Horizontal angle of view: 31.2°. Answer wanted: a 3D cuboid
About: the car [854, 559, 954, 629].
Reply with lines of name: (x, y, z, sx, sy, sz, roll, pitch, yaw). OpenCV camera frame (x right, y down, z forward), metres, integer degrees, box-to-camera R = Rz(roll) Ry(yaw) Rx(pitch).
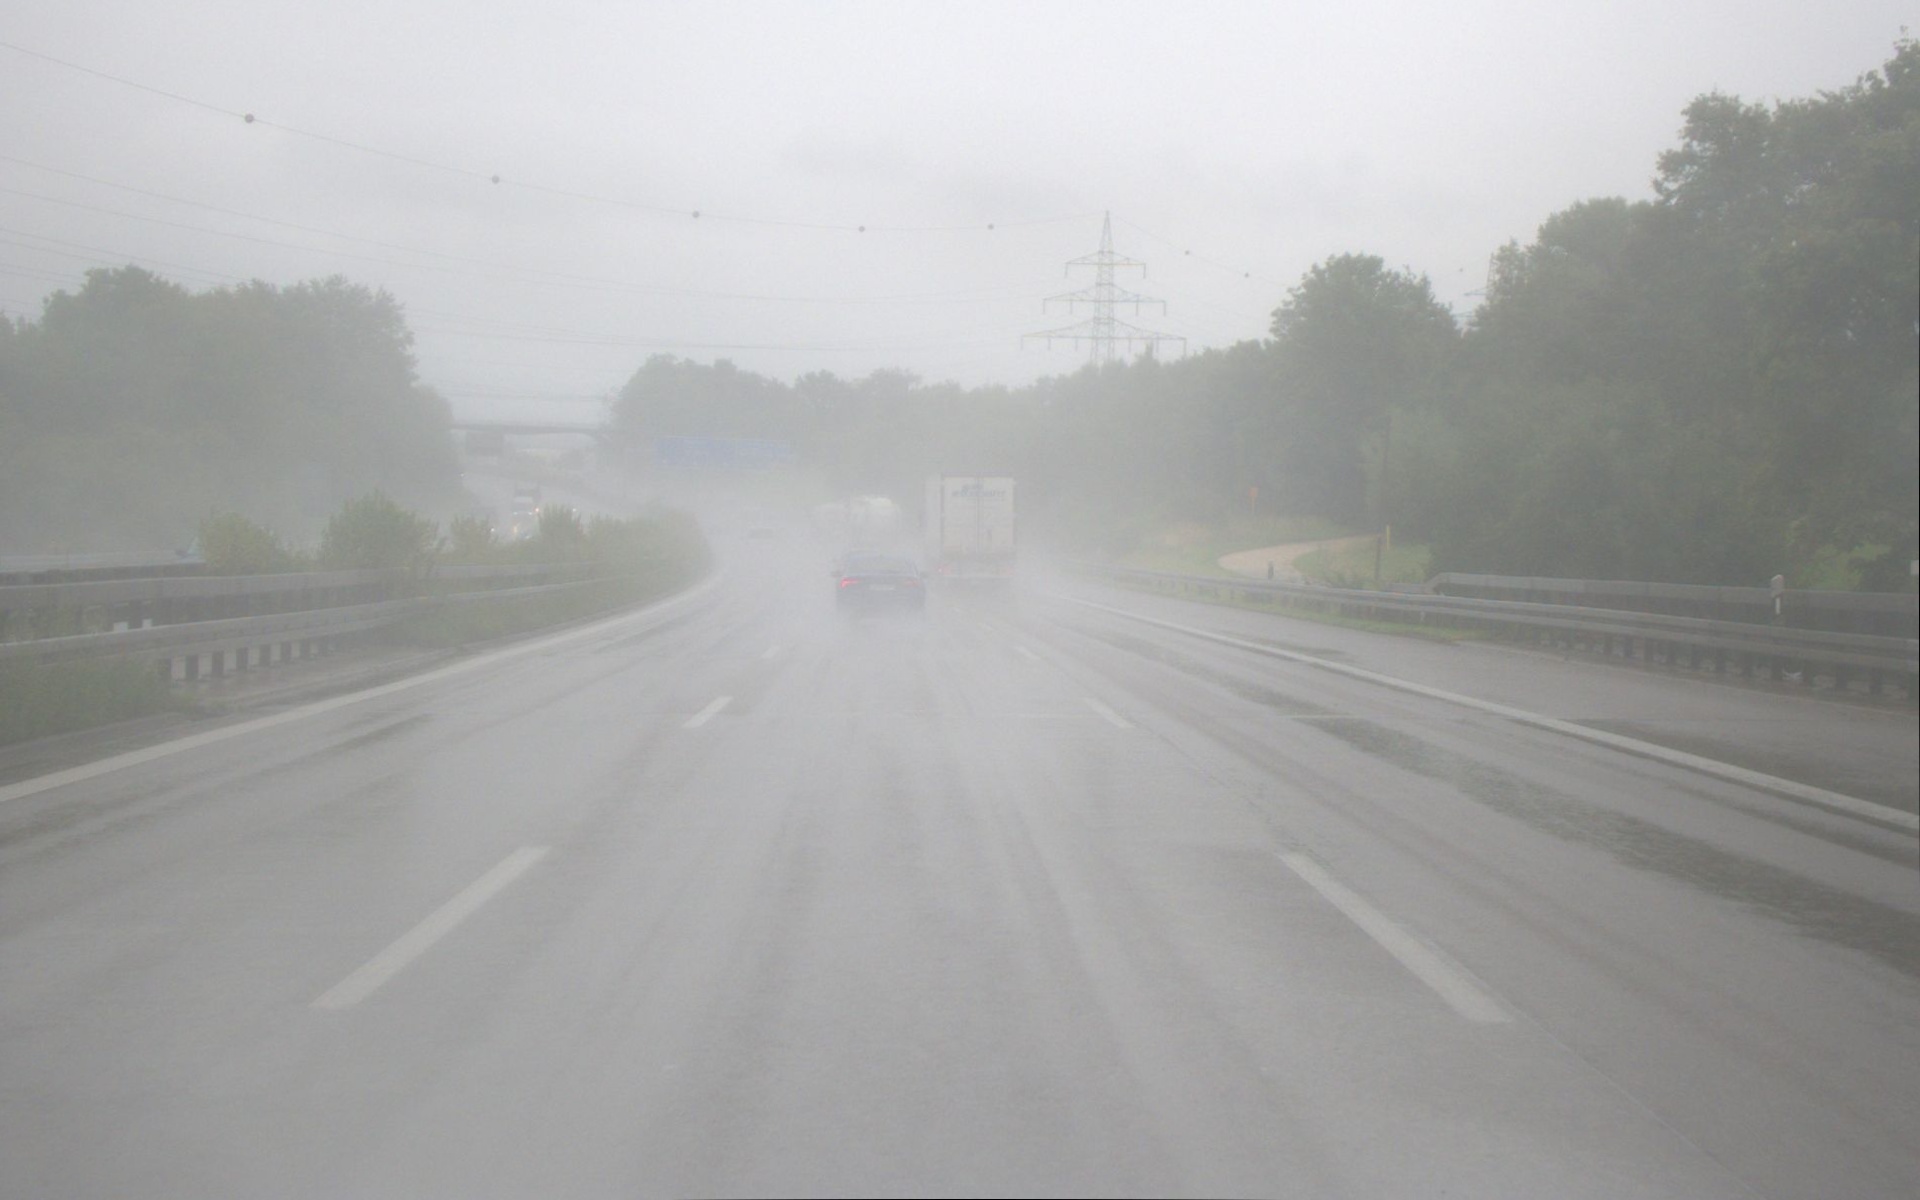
car: (-1.093, -0.146, 68.671, 1.749, 1.208, 4.000, 4, 1, 2)

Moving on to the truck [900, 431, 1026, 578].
truck: (0.239, -3.475, 124.577, 4.256, 4.955, 17.341, 0, 2, 1)
